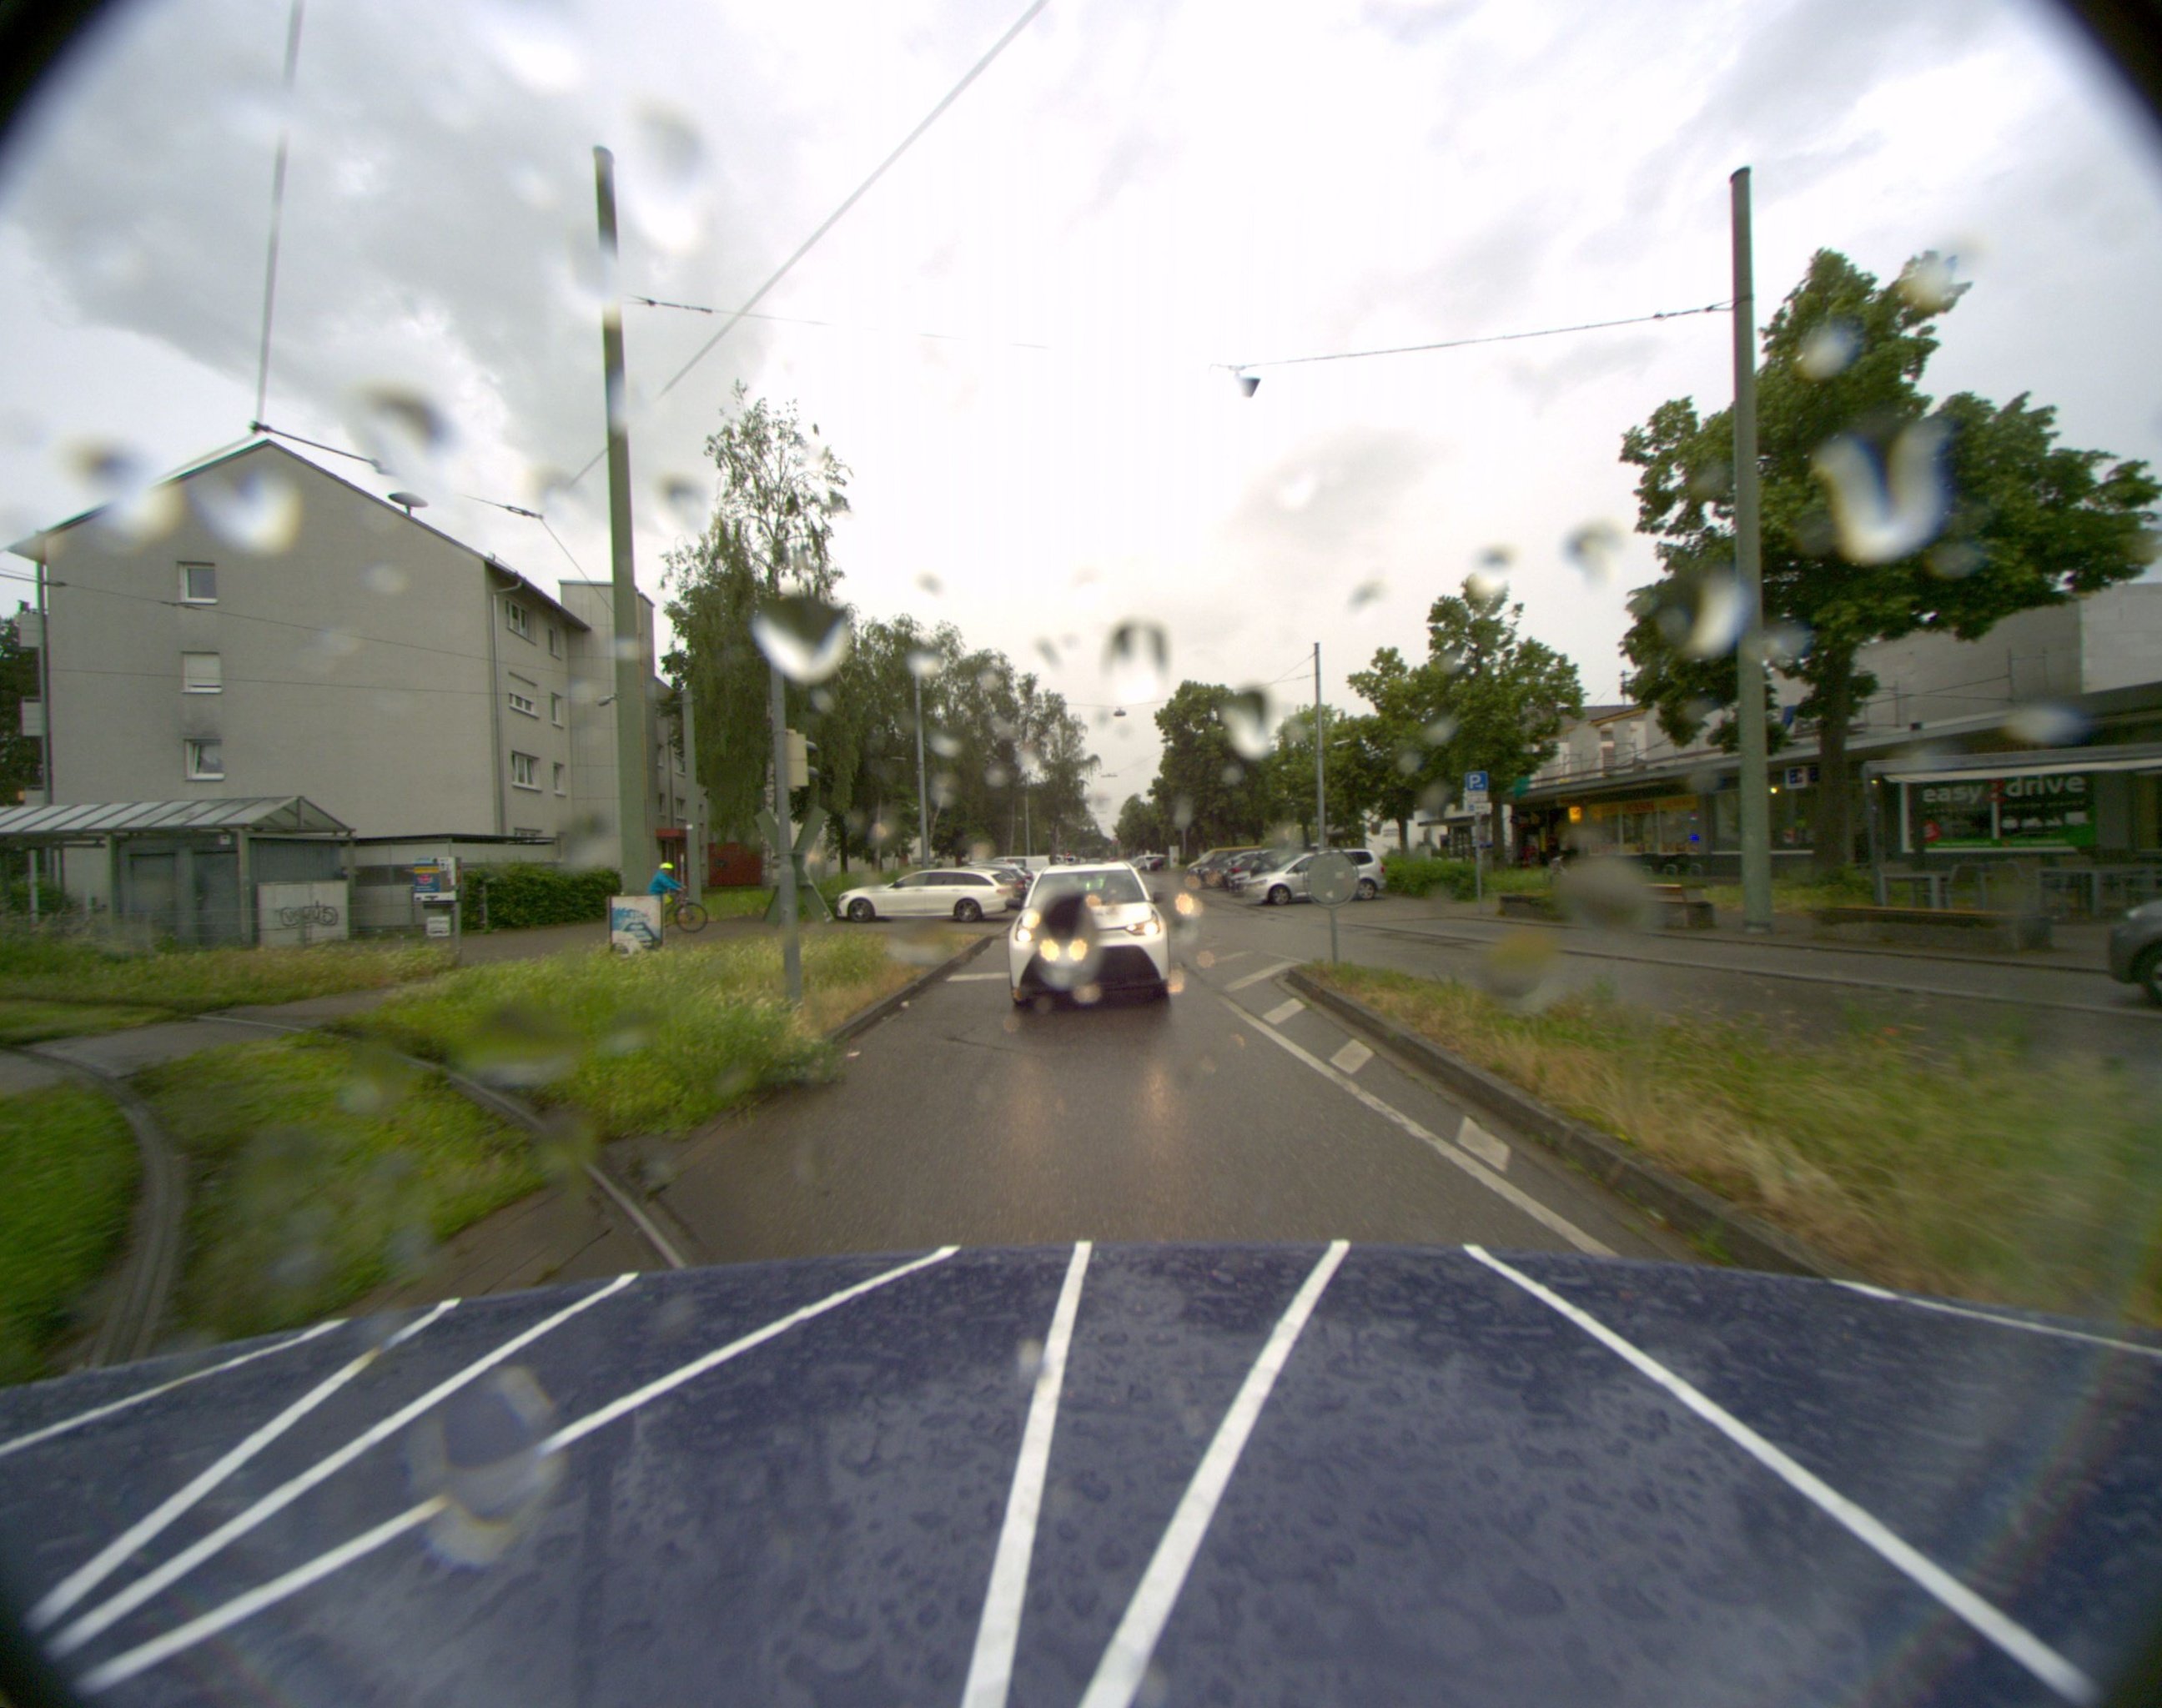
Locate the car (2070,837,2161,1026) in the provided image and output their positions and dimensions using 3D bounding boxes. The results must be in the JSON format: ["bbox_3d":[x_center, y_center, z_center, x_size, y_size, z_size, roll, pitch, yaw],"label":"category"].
[{"bbox_3d":[10.000,0.602,5.174,1.553,1.494,3.618,-4,0,-16],"label":"car"}]

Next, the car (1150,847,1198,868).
[{"bbox_3d":[9.484,0.369,77.381,4.546,1.931,1.899,-3,0,0],"label":"car"}]

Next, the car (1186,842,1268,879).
[{"bbox_3d":[8.782,0.408,45.983,4.546,1.931,1.899,-3,0,0],"label":"car"}]

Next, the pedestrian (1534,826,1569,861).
[{"bbox_3d":[21.608,-0.481,34.888,1.078,1.575,0.948,-2,1,12],"label":"pedestrian"}]

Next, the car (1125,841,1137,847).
[{"bbox_3d":[16.404,-3.190,249.980,3.997,1.688,2.000,-4,0,1],"label":"car"}]

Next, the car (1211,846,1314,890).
[{"bbox_3d":[8.049,0.617,33.939,4.088,1.699,1.899,-3,0,0],"label":"car"}]

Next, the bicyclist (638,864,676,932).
[{"bbox_3d":[-9.784,1.004,17.545,0.700,1.507,0.723,-2,-1,-30],"label":"bicyclist"}]

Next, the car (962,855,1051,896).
[{"bbox_3d":[-3.935,1.121,40.524,4.441,1.835,1.723,-4,0,2],"label":"car"}]

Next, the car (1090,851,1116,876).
[{"bbox_3d":[1.865,0.779,66.271,1.998,2.002,4.000,-4,0,0],"label":"car"}]

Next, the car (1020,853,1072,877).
[{"bbox_3d":[-3.106,0.975,68.191,4.546,1.931,1.899,-3,0,0],"label":"car"}]

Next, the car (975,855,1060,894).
[{"bbox_3d":[-3.533,1.129,42.752,4.441,1.835,1.723,-4,0,2],"label":"car"}]

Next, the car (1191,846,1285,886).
[{"bbox_3d":[7.608,0.579,37.072,4.088,1.699,1.899,-3,0,0],"label":"car"}]

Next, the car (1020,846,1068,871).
[{"bbox_3d":[-3.490,0.424,72.351,4.443,2.050,1.722,-4,0,-2],"label":"car"}]

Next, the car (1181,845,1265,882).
[{"bbox_3d":[7.964,0.514,42.956,4.302,1.799,1.899,-3,0,0],"label":"car"}]

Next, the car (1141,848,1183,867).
[{"bbox_3d":[9.350,0.373,87.545,4.546,1.931,1.899,-3,0,0],"label":"car"}]

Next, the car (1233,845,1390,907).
[{"bbox_3d":[7.286,0.667,24.354,4.334,1.664,2.000,-3,0,0],"label":"car"}]

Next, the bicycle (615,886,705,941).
[{"bbox_3d":[-9.713,1.353,17.573,1.756,1.123,0.727,-2,-1,-30],"label":"bicycle"}]

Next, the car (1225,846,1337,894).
[{"bbox_3d":[8.302,0.651,31.821,4.088,1.699,1.899,-3,0,0],"label":"car"}]

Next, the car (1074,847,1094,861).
[{"bbox_3d":[0.688,0.024,183.593,4.546,2.928,1.899,-3,0,0],"label":"car"}]

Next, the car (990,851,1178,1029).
[{"bbox_3d":[0.139,0.875,9.066,1.719,1.613,3.717,-3,-2,3],"label":"car"}]

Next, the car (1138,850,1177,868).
[{"bbox_3d":[9.520,0.657,95.005,4.546,1.931,1.899,-3,0,0],"label":"car"}]

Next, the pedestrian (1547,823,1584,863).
[{"bbox_3d":[21.385,-0.497,33.571,1.078,1.704,0.948,-2,1,12],"label":"pedestrian"}]

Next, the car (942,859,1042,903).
[{"bbox_3d":[-3.803,1.160,32.863,3.996,1.576,1.723,-4,0,2],"label":"car"}]

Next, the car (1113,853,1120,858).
[{"bbox_3d":[10.785,0.331,232.222,1.998,1.319,4.000,-4,0,1],"label":"car"}]

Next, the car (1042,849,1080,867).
[{"bbox_3d":[-2.469,0.501,93.359,4.546,2.013,1.899,-3,0,0],"label":"car"}]

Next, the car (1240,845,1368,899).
[{"bbox_3d":[7.867,0.623,27.003,3.944,1.664,1.794,-3,0,0],"label":"car"}]

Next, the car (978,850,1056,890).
[{"bbox_3d":[-3.795,0.960,45.644,4.443,2.050,1.722,-4,0,-2],"label":"car"}]

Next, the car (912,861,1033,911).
[{"bbox_3d":[-3.886,1.156,27.666,3.996,1.477,1.723,-4,0,2],"label":"car"}]

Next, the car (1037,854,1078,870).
[{"bbox_3d":[-2.672,0.918,86.740,4.546,1.574,1.899,-3,0,0],"label":"car"}]

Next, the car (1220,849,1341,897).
[{"bbox_3d":[7.665,0.703,29.463,4.088,1.562,2.000,-3,0,0],"label":"car"}]

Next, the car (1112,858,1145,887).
[{"bbox_3d":[3.076,1.188,50.345,1.962,1.544,3.999,-3,2,1],"label":"car"}]

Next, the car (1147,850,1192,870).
[{"bbox_3d":[9.453,0.621,81.542,4.546,1.931,1.899,-3,0,0],"label":"car"}]

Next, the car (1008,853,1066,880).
[{"bbox_3d":[-3.618,1.025,62.840,4.546,1.931,1.899,-3,0,0],"label":"car"}]

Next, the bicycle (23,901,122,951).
[{"bbox_3d":[-21.953,1.555,16.572,0.377,0.950,1.238,-4,0,4],"label":"bicycle"}]

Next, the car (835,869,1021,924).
[{"bbox_3d":[-4.248,1.182,21.629,4.837,1.449,2.000,0,0,2],"label":"car"}]

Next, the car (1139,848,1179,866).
[{"bbox_3d":[9.340,0.372,91.120,4.546,1.931,1.899,-3,0,0],"label":"car"}]

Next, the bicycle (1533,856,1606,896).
[{"bbox_3d":[13.746,0.602,21.435,0.594,1.066,1.748,-1,0,-16],"label":"bicycle"}]

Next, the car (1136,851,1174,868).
[{"bbox_3d":[9.450,0.658,97.616,4.546,1.931,1.899,-3,0,0],"label":"car"}]
